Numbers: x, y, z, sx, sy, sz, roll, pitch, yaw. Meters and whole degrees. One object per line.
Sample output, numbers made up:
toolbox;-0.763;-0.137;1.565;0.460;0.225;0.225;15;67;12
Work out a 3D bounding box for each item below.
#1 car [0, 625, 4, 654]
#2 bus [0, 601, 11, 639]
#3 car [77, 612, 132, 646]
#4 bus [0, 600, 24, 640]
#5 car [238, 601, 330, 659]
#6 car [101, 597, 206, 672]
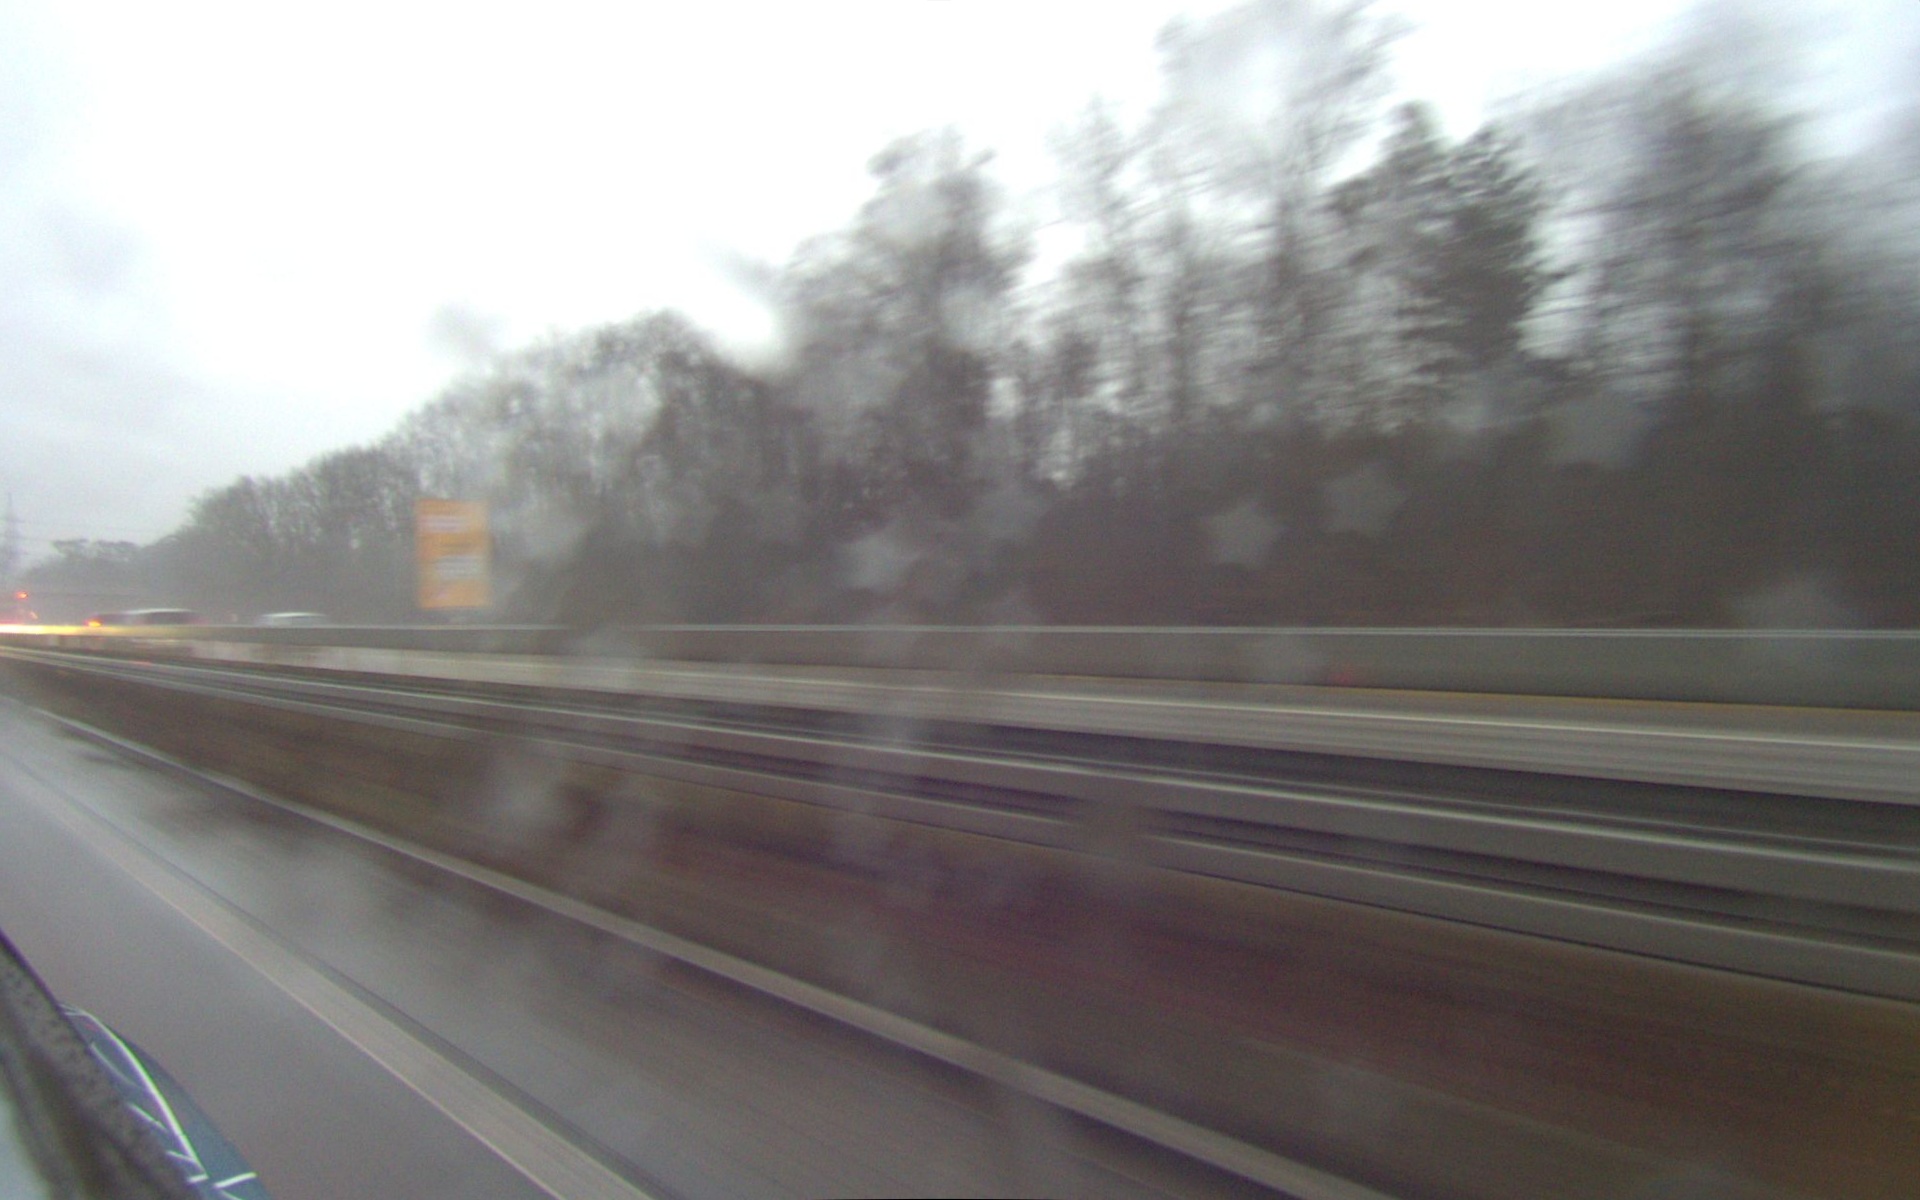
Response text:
car;-69.725;2.837;72.110;4.728;2.029;1.972;-1;-1;42
bus;-95.183;1.999;98.921;9.084;3.582;2.698;-1;-1;41
car;-47.777;1.592;56.495;3.999;1.813;1.835;-1;-1;42
bus;-88.321;1.853;92.795;9.151;3.582;2.710;-1;-1;41
car;-23.260;0.998;34.779;3.894;1.880;1.614;-1;-1;40
car;-24.516;0.999;30.696;4.517;2.103;1.704;-1;-1;41
